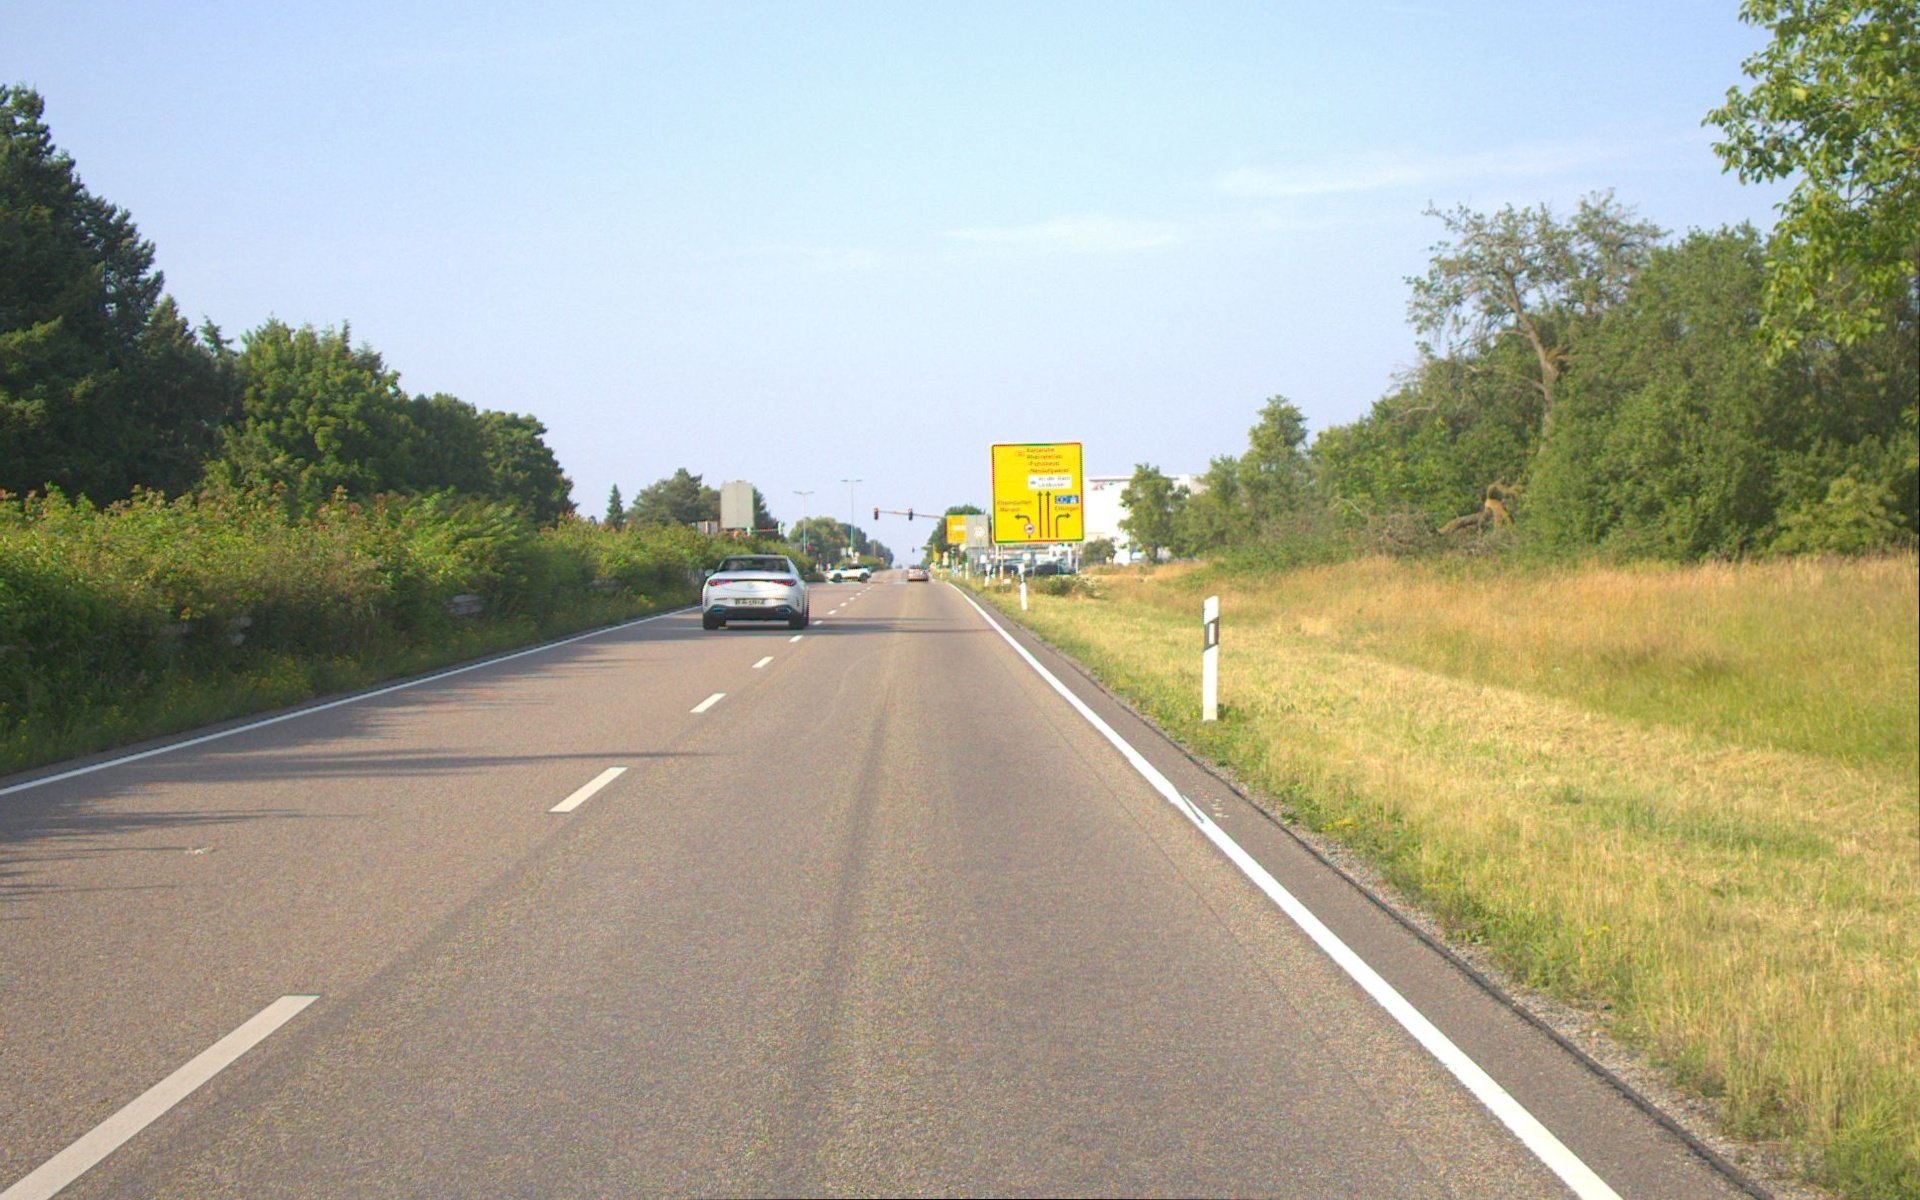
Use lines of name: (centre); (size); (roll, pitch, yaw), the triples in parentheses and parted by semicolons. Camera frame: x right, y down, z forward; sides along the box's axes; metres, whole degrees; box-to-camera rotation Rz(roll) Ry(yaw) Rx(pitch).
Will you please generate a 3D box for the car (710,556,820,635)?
car: (-3.595, -0.110, 63.972); (1.909, 1.417, 4.000); (0, 1, -1)
